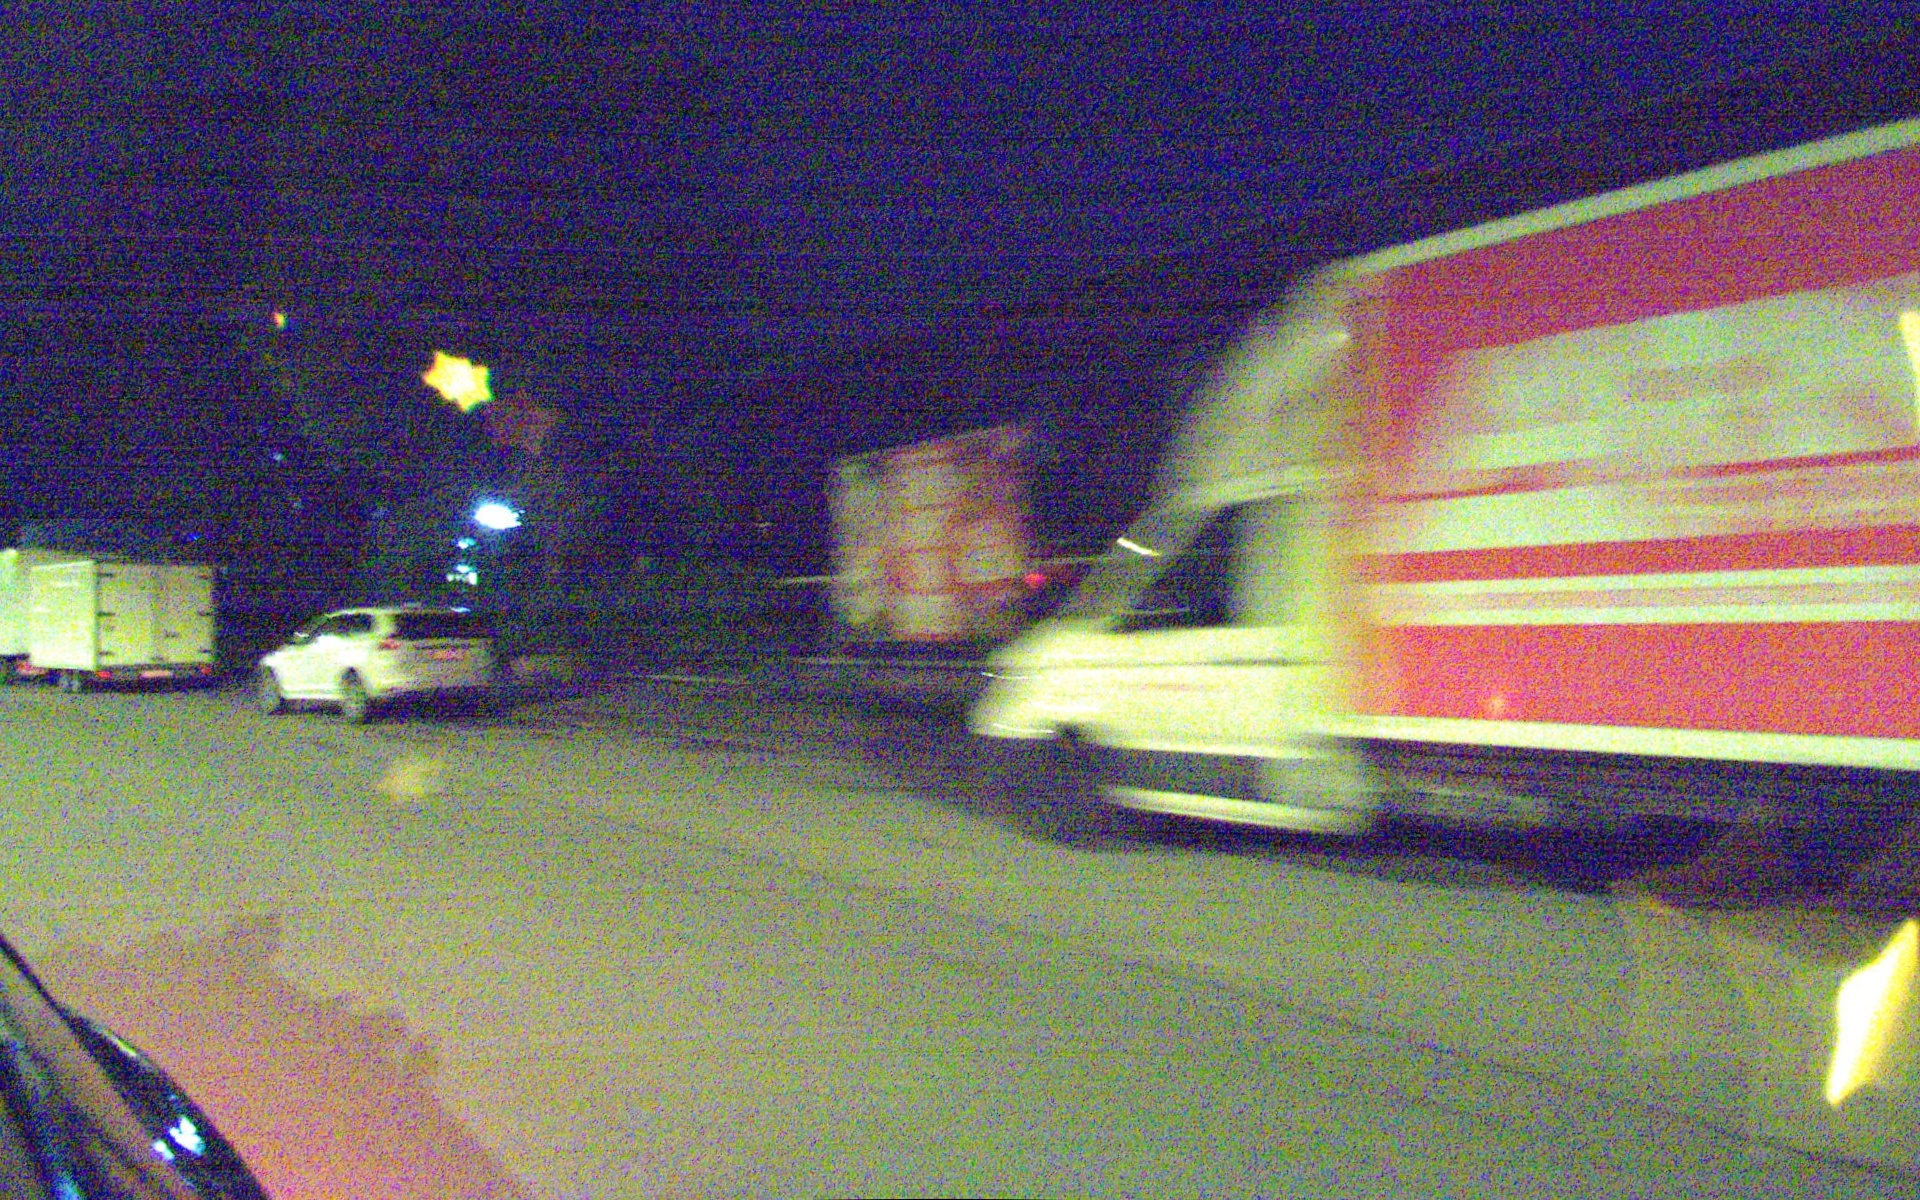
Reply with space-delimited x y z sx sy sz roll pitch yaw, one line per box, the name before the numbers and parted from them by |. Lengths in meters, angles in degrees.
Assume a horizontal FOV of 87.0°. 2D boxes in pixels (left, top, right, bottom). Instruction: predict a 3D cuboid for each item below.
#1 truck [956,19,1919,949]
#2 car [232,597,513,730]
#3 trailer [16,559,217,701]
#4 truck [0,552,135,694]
truck | 3.519 -0.382 5.199 7.311 3.305 2.516 -2 -2 42
car | -9.208 0.914 15.749 4.680 1.785 1.977 -2 -2 34
trailer | -18.660 0.658 22.362 4.603 2.817 2.187 -2 -2 33
truck | -24.138 0.627 26.254 7.214 3.268 2.353 -2 -2 35
